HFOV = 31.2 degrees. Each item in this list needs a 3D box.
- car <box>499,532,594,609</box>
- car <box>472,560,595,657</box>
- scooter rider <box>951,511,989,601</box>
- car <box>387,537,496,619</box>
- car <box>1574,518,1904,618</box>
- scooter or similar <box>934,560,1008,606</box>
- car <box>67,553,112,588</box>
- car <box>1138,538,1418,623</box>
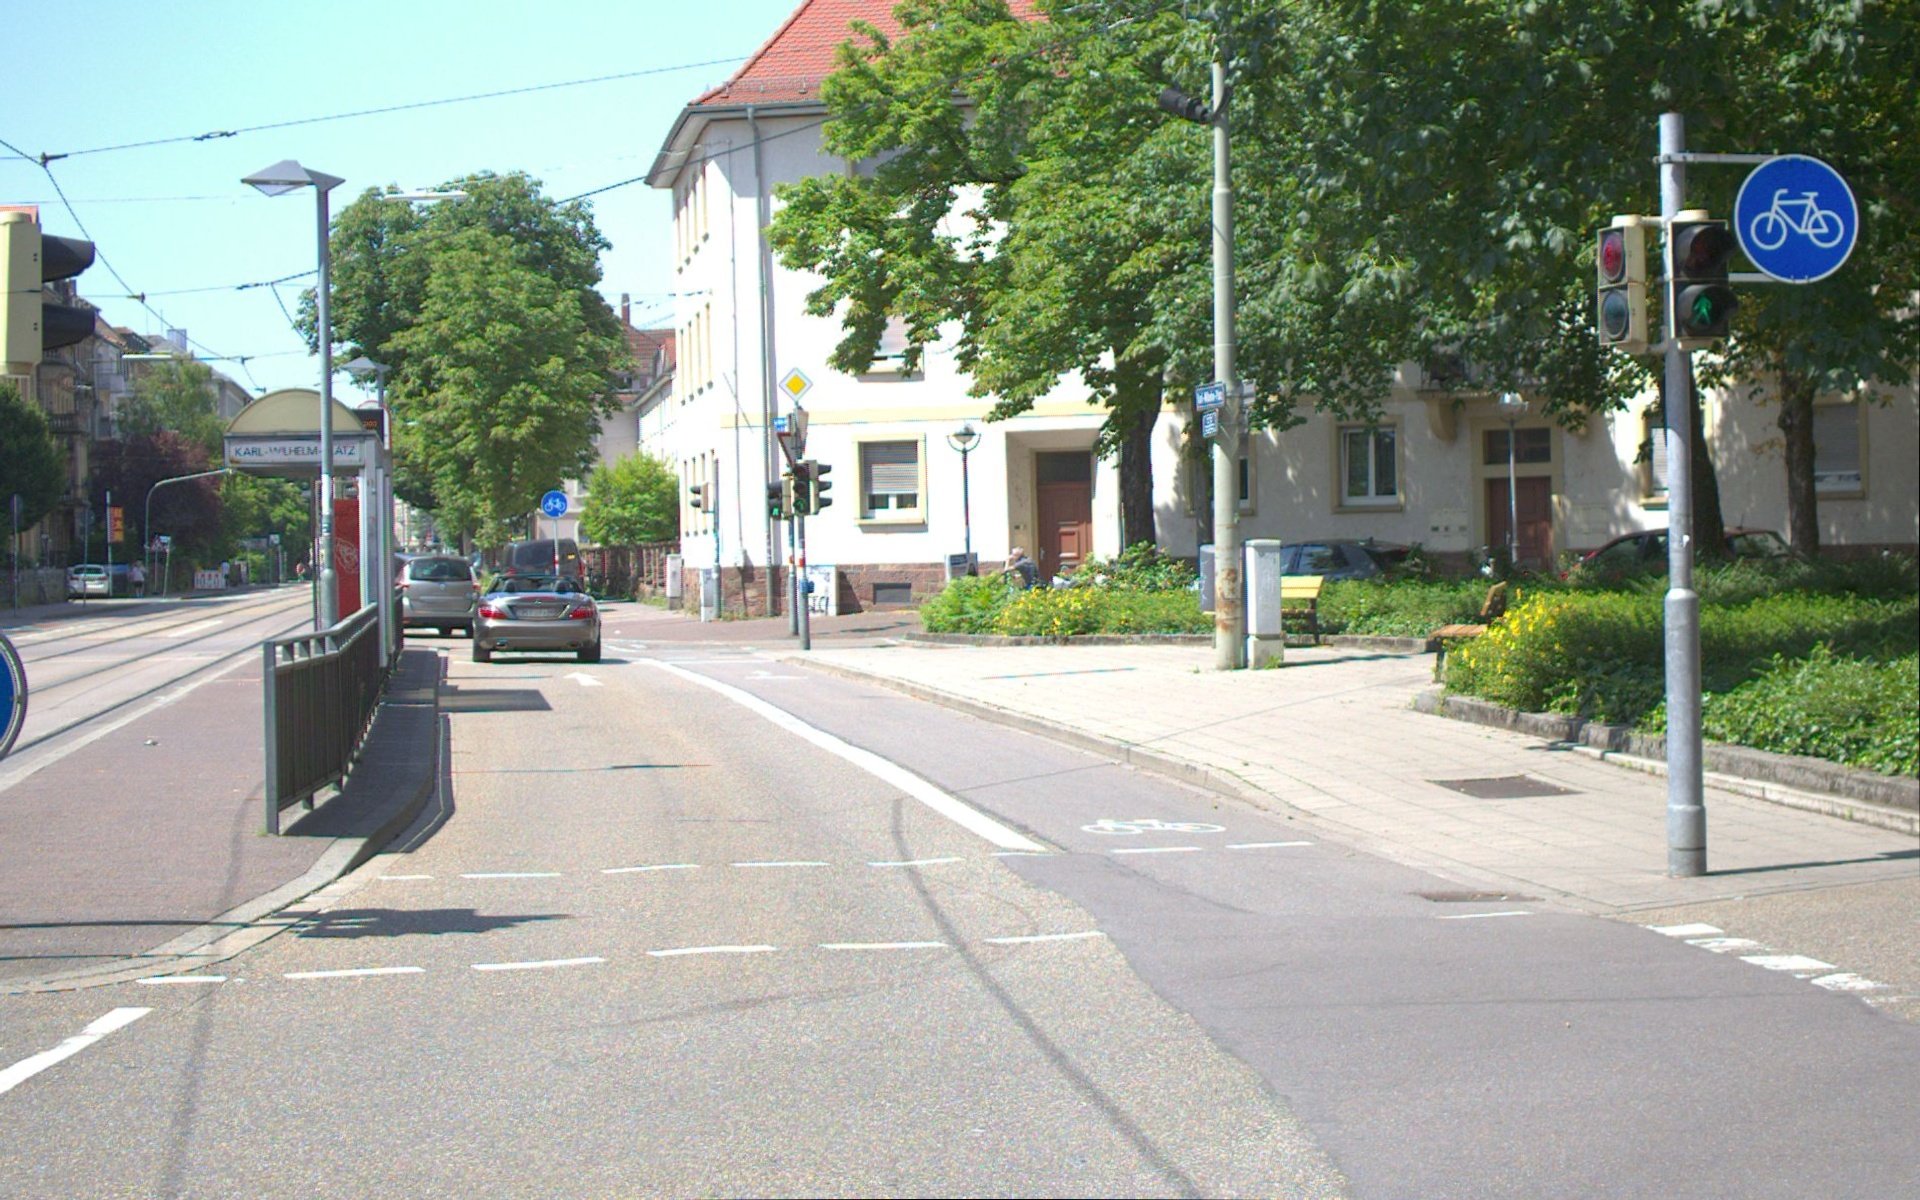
[{"bbox_3d":[-10.352,-0.746,85.836,1.993,1.842,4.001,-1,1,-12],"label":"car"},{"bbox_3d":[-6.269,0.093,50.242,1.691,1.318,3.822,-1,1,-8],"label":"car"},{"bbox_3d":[0.188,-0.834,65.328,0.590,1.681,0.528,-1,1,-13],"label":"scooter rider"},{"bbox_3d":[-10.097,-0.439,66.766,1.691,1.508,3.822,-1,1,-14],"label":"car"},{"bbox_3d":[10.959,-0.453,48.589,1.787,1.324,4.337,-2,1,-40],"label":"car"},{"bbox_3d":[0.209,-0.325,65.337,1.311,0.834,0.527,-1,1,-13],"label":"scooter or similar"},{"bbox_3d":[-39.764,-1.353,157.021,1.787,1.580,4.001,0,0,-17],"label":"car"},{"bbox_3d":[4.944,-0.304,53.522,3.993,1.239,1.621,-1,1,27],"label":"car"}]
